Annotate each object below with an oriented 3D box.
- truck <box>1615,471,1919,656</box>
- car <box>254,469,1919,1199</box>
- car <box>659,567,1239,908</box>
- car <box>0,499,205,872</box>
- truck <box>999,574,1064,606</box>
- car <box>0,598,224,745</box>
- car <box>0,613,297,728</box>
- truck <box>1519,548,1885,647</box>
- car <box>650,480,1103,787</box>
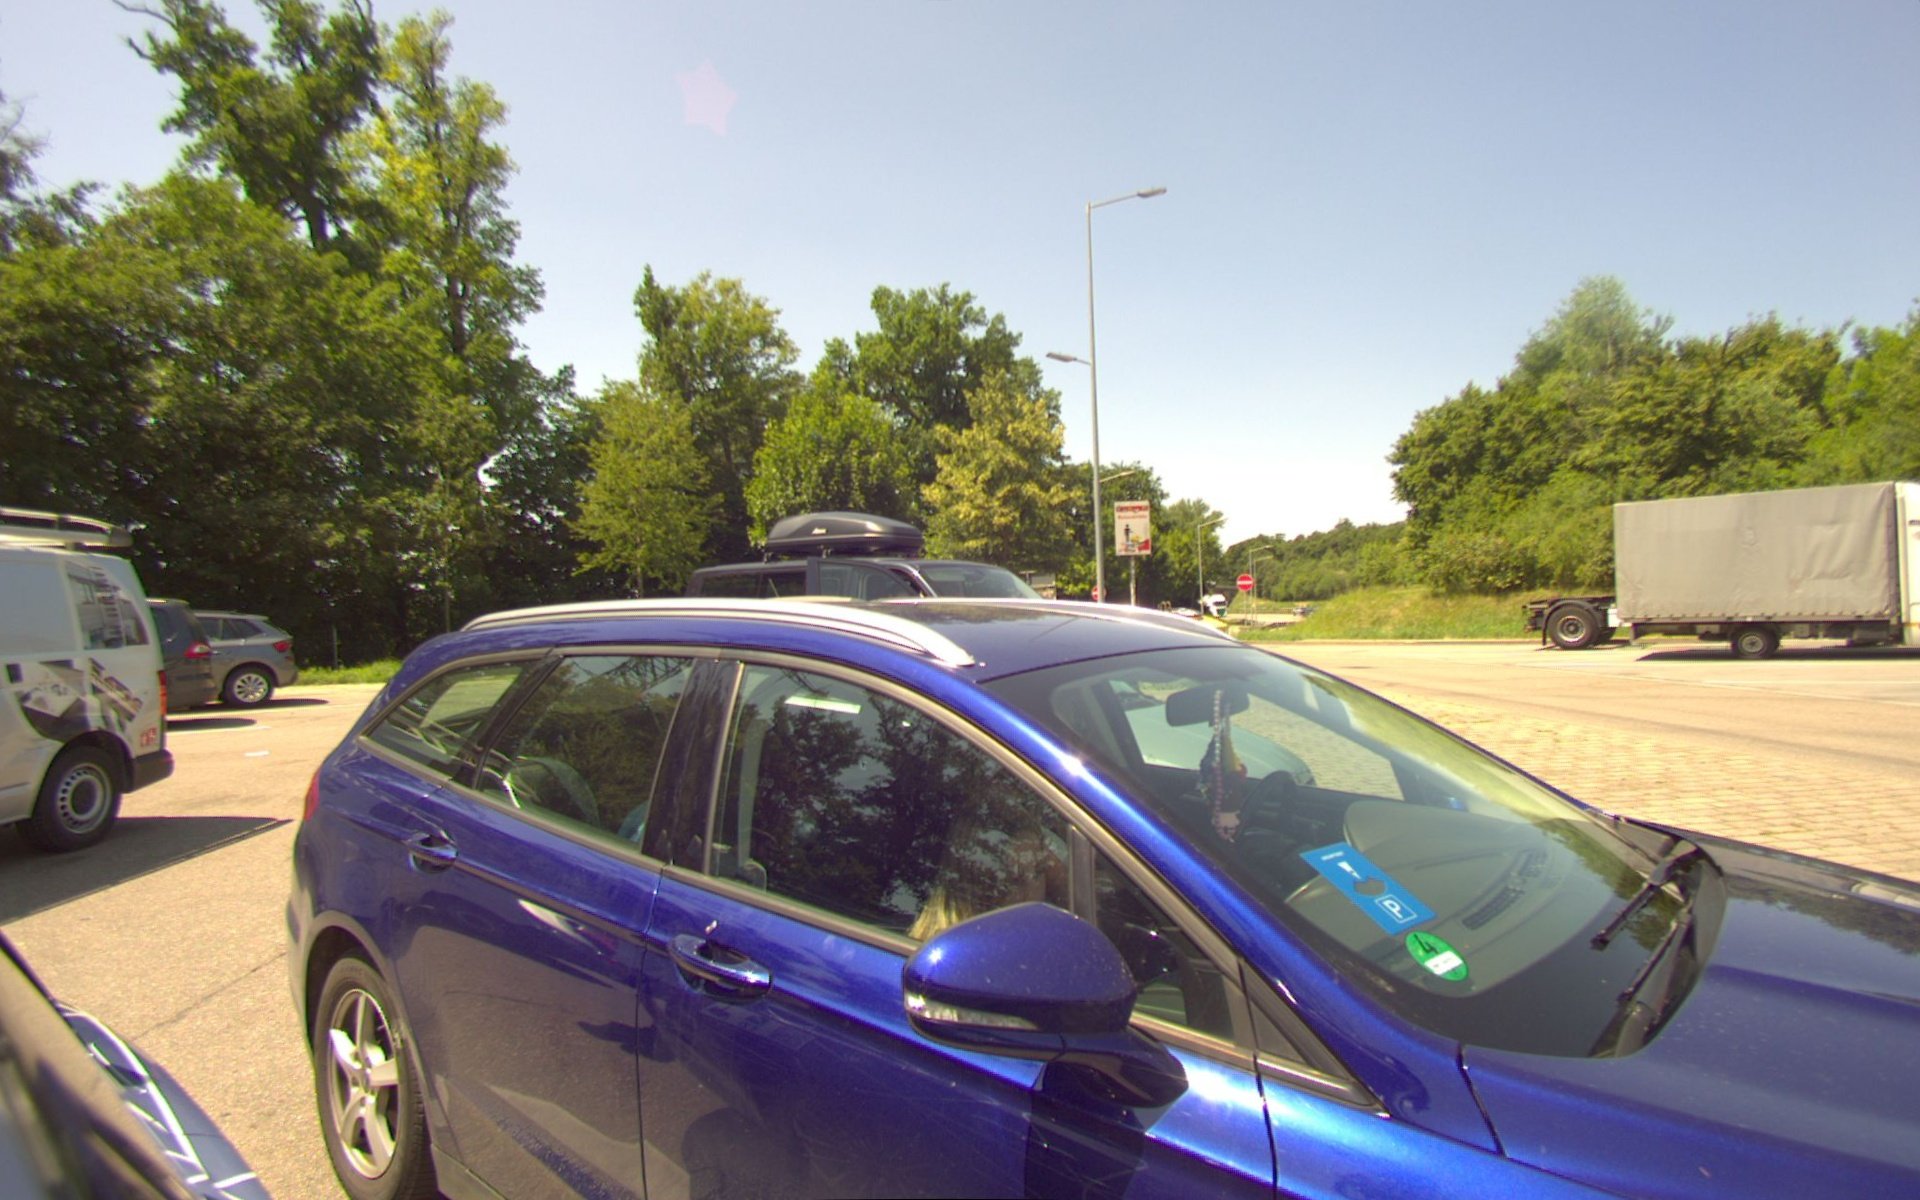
[{"bbox_3d":[16.625,-0.608,18.740,7.253,3.175,2.148,-2,-1,41],"label":"truck"},{"bbox_3d":[0.235,0.662,2.045,4.411,1.429,1.721,-2,-1,41],"label":"car"},{"bbox_3d":[-0.216,0.591,5.606,3.112,1.370,1.326,-2,-1,41],"label":"car"},{"bbox_3d":[-6.277,0.472,4.725,1.816,2.121,5.440,0,-1,-5],"label":"car"},{"bbox_3d":[3.443,-0.466,48.807,2.866,1.386,1.158,-2,-1,22],"label":"truck"},{"bbox_3d":[-11.649,0.855,12.599,1.755,1.701,3.798,-2,-1,45],"label":"car"},{"bbox_3d":[-12.544,0.990,15.719,3.535,1.513,1.708,-1,0,-42],"label":"car"},{"bbox_3d":[16.981,0.046,23.572,6.613,2.029,1.973,-2,-1,41],"label":"truck"},{"bbox_3d":[-0.897,0.316,9.615,4.076,2.336,1.767,-2,-1,35],"label":"car"}]
